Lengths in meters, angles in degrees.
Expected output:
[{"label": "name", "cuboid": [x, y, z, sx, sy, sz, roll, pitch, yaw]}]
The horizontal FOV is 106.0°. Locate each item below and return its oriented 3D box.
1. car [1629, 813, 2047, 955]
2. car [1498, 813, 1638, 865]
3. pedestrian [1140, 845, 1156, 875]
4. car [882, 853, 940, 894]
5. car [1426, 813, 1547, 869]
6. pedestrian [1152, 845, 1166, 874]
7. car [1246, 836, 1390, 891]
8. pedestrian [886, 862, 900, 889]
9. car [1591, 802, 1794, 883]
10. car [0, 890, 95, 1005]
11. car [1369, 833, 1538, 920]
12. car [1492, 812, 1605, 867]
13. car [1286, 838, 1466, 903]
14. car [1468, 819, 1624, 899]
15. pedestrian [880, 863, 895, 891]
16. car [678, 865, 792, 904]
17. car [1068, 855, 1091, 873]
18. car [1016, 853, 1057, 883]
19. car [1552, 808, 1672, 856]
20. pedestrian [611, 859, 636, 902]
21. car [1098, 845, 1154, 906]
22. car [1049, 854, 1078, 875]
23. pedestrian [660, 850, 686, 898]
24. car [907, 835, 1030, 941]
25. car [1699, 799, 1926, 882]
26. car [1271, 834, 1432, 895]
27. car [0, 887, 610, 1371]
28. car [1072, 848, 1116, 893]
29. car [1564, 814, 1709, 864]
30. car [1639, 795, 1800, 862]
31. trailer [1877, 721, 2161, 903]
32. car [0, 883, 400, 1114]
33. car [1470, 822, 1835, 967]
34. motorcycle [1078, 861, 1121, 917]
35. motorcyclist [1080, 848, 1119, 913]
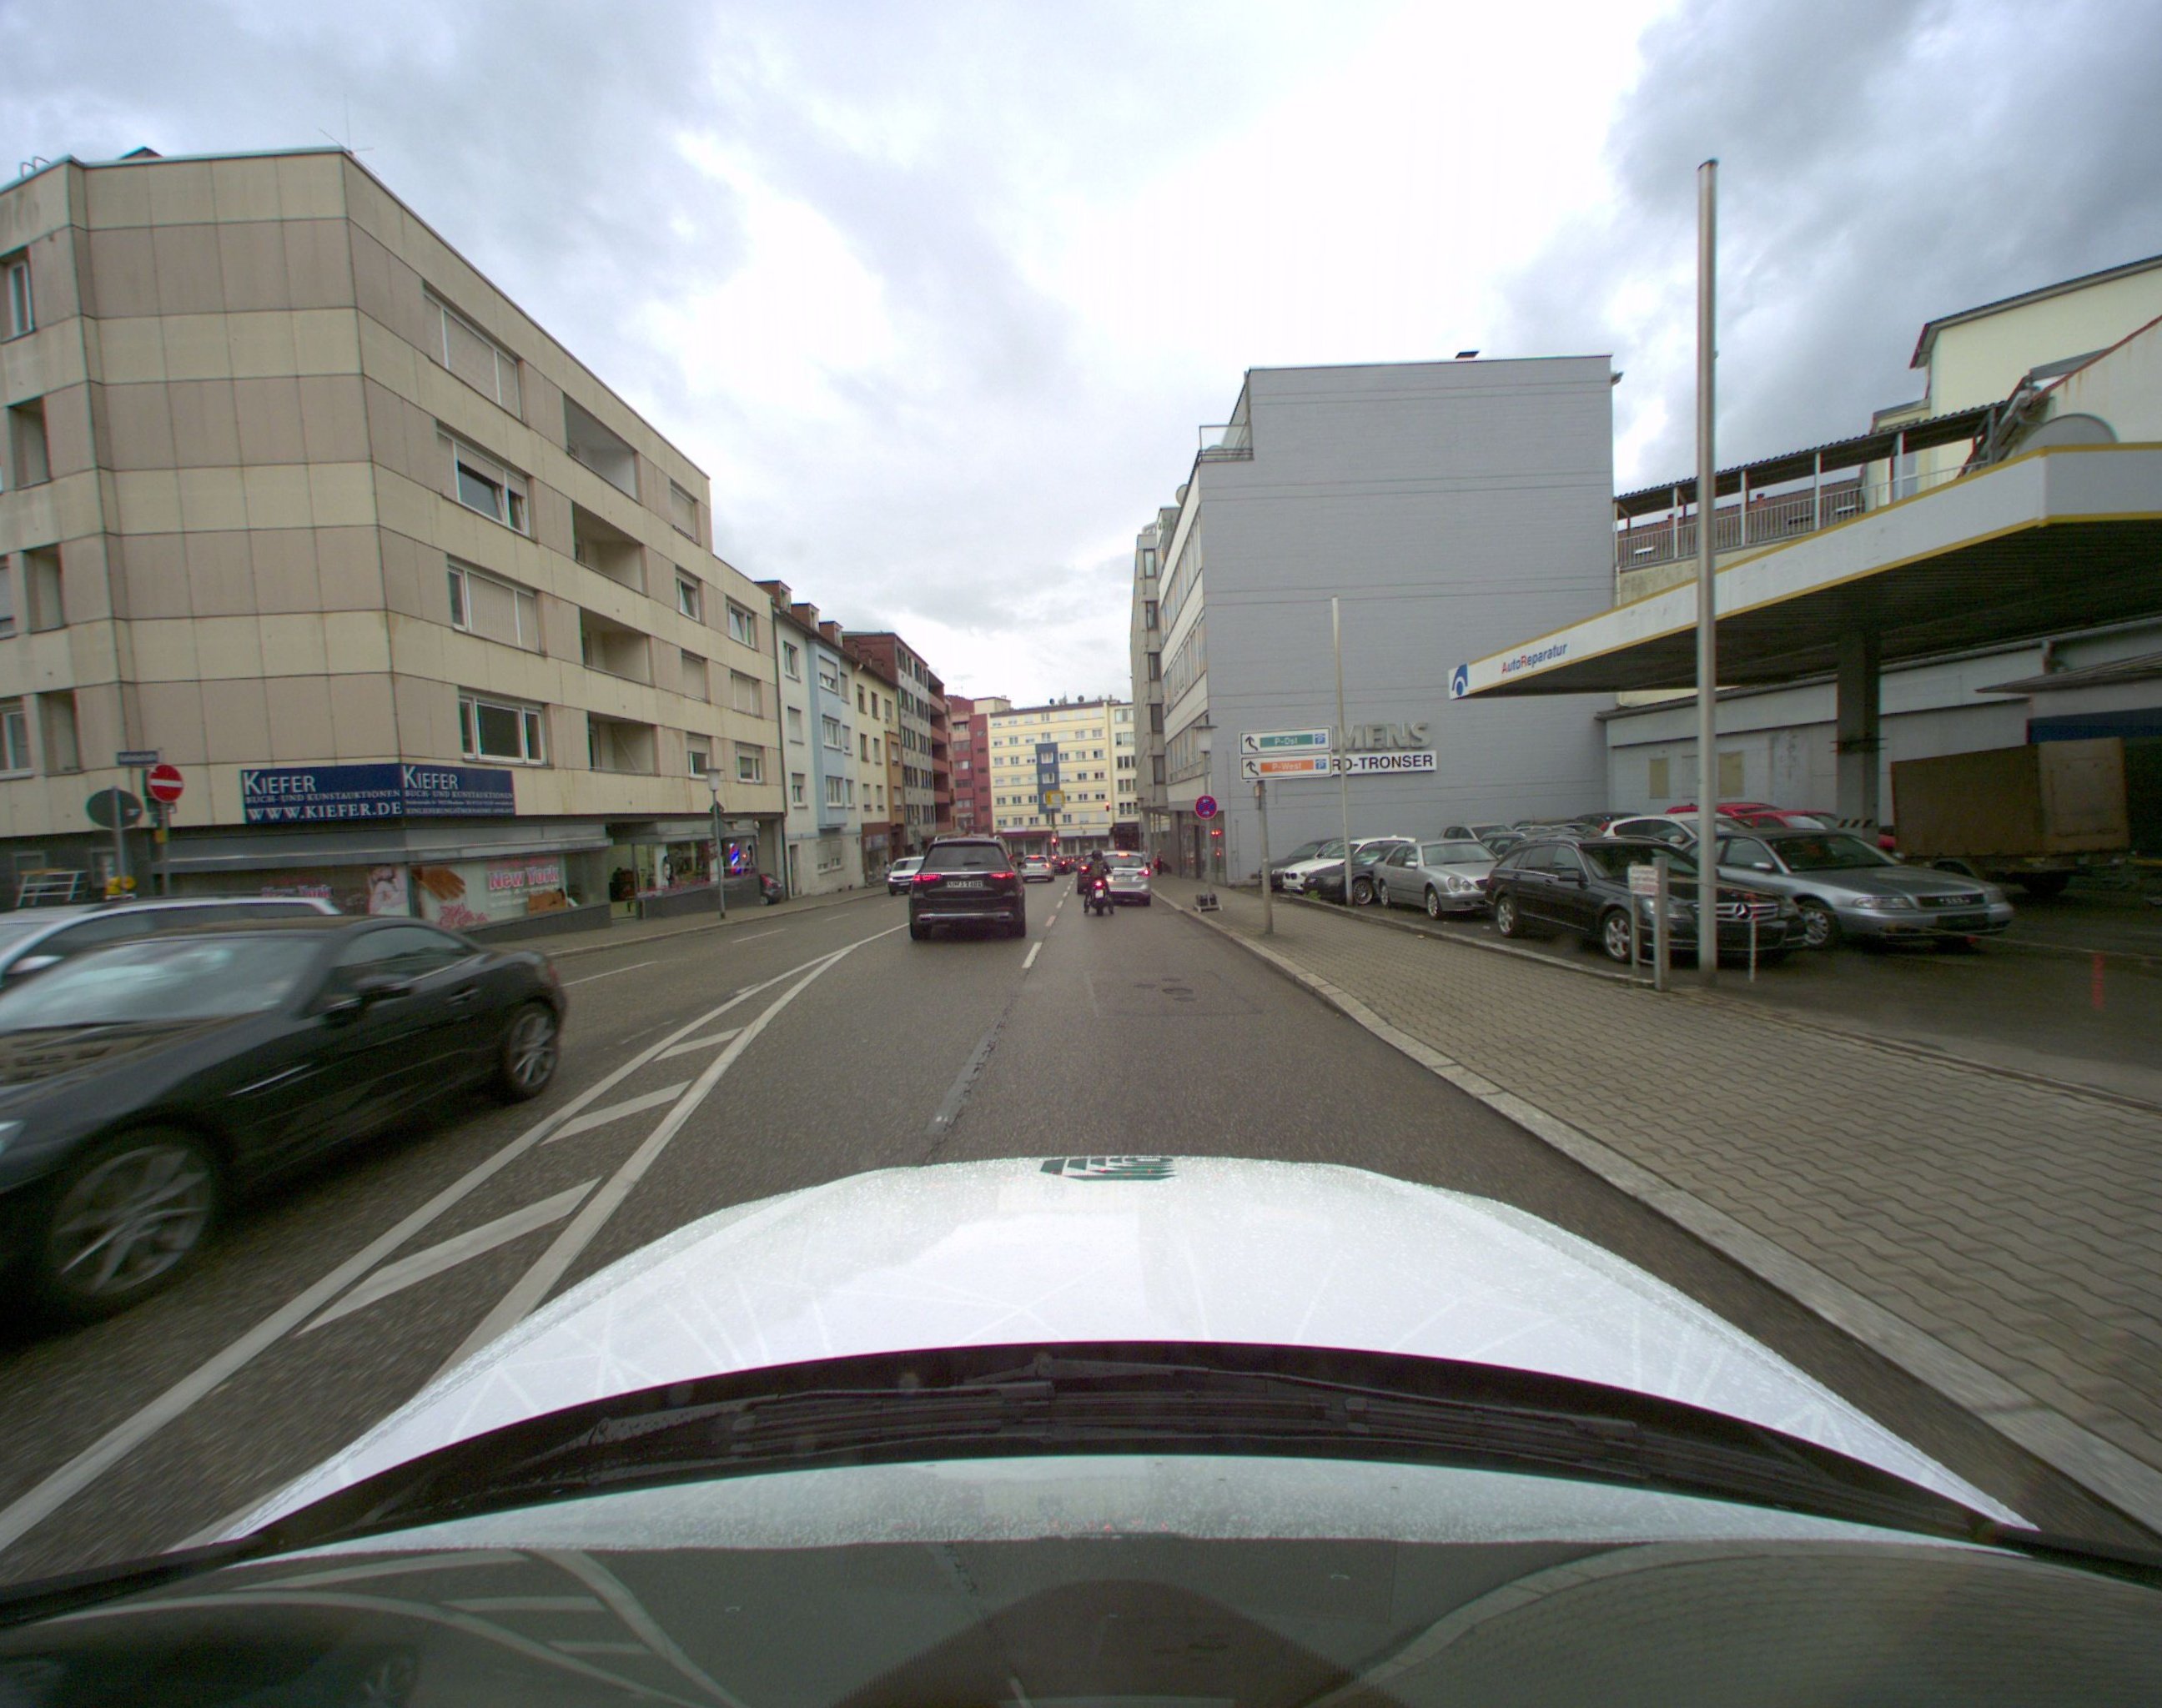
[{"label": "car", "cuboid": [9.627, 0.314, 10.995, 1.787, 1.477, 4.493, -2, 0, 6]}, {"label": "car", "cuboid": [12.618, -0.345, 21.336, 1.447, 1.202, 3.387, -1, -1, -4]}, {"label": "pedestrian", "cuboid": [3.734, 0.322, 45.350, 0.767, 1.611, 0.703, -2, 2, -2]}, {"label": "car", "cuboid": [-8.389, 0.933, 40.547, 1.864, 1.753, 4.398, -4, 0, 0]}, {"label": "car", "cuboid": [12.476, -0.340, 25.340, 1.641, 1.597, 3.861, -1, -1, -4]}, {"label": "pedestrian", "cuboid": [4.431, 0.300, 46.263, 0.715, 1.611, 0.610, -2, 2, -2]}, {"label": "car", "cuboid": [7.384, 0.277, 25.434, 3.998, 1.597, 1.788, -1, -1, -18]}, {"label": "pedestrian", "cuboid": [-11.919, 1.346, 51.739, 0.670, 1.652, 0.605, -2, 4, -2]}, {"label": "car", "cuboid": [12.705, -0.187, 17.208, 1.548, 1.512, 3.517, -1, -1, -2]}, {"label": "car", "cuboid": [-16.686, 1.321, 11.359, 4.304, 1.512, 1.904, -1, 0, 11]}, {"label": "car", "cuboid": [7.193, 0.381, 16.197, 1.560, 1.477, 4.070, -1, 0, 1]}, {"label": "car", "cuboid": [14.661, -0.404, 25.745, 1.447, 1.597, 3.387, -1, -1, -4]}, {"label": "car", "cuboid": [7.326, 0.390, 20.268, 3.998, 1.494, 1.722, -1, -1, -18]}, {"label": "car", "cuboid": [9.733, 0.126, 17.351, 1.521, 1.512, 3.395, -1, -1, 3]}, {"label": "pedestrian", "cuboid": [-12.085, 1.425, 50.830, 0.738, 1.652, 0.605, -2, 4, -2]}, {"label": "car", "cuboid": [-14.484, 1.258, 34.211, 3.976, 1.499, 1.798, -2, -1, -2]}, {"label": "car", "cuboid": [-0.136, 0.914, 73.784, 1.878, 1.502, 4.401, -1, 0, 2]}, {"label": "car", "cuboid": [-2.381, 0.728, 44.642, 1.878, 1.502, 4.401, -1, 0, 2]}, {"label": "car", "cuboid": [16.805, -0.667, 25.949, 1.449, 1.354, 3.348, -1, -1, -4]}, {"label": "pedestrian", "cuboid": [-17.517, 1.002, 31.163, 0.446, 1.562, 0.673, -2, 4, 1]}, {"label": "car", "cuboid": [1.292, 0.585, 24.368, 1.412, 1.651, 3.106, -2, 1, -1]}, {"label": "car", "cuboid": [-1.278, 0.763, 61.230, 1.878, 1.502, 4.401, -1, 0, 2]}, {"label": "pedestrian", "cuboid": [-15.339, 0.761, 30.646, 0.598, 1.729, 0.571, -2, 4, -2]}, {"label": "car", "cuboid": [-2.066, 0.550, 15.868, 2.018, 1.739, 4.738, 0, 0, -5]}, {"label": "car", "cuboid": [14.908, -0.220, 16.868, 1.446, 1.512, 3.517, -1, -1, -2]}, {"label": "car", "cuboid": [7.569, 0.279, 22.848, 3.998, 1.597, 1.788, -1, -1, -18]}, {"label": "car", "cuboid": [-4.334, 0.964, 4.090, 1.711, 1.317, 4.137, -2, 1, -4]}, {"label": "car", "cuboid": [0.458, 0.579, 30.791, 1.518, 1.548, 3.106, -2, 1, -1]}, {"label": "car", "cuboid": [14.824, -0.355, 21.949, 1.447, 1.202, 3.387, -1, -1, -4]}, {"label": "car", "cuboid": [16.845, -0.621, 21.697, 1.447, 1.597, 3.387, -1, -1, -4]}, {"label": "trailer", "cuboid": [14.706, -0.589, 12.649, 1.423, 2.435, 3.205, -3, 0, -1]}, {"label": "car", "cuboid": [-8.495, 1.130, 6.752, 1.739, 1.539, 4.641, -4, -1, -1]}, {"label": "car", "cuboid": [6.988, 0.409, 10.687, 1.789, 1.477, 4.488, -1, 0, 2]}, {"label": "motorcycle", "cuboid": [0.425, 0.820, 20.065, 0.865, 1.186, 2.560, -2, 1, -2]}, {"label": "motorcyclist", "cuboid": [0.439, 0.645, 20.088, 0.864, 1.560, 0.763, -2, -1, -2]}]
